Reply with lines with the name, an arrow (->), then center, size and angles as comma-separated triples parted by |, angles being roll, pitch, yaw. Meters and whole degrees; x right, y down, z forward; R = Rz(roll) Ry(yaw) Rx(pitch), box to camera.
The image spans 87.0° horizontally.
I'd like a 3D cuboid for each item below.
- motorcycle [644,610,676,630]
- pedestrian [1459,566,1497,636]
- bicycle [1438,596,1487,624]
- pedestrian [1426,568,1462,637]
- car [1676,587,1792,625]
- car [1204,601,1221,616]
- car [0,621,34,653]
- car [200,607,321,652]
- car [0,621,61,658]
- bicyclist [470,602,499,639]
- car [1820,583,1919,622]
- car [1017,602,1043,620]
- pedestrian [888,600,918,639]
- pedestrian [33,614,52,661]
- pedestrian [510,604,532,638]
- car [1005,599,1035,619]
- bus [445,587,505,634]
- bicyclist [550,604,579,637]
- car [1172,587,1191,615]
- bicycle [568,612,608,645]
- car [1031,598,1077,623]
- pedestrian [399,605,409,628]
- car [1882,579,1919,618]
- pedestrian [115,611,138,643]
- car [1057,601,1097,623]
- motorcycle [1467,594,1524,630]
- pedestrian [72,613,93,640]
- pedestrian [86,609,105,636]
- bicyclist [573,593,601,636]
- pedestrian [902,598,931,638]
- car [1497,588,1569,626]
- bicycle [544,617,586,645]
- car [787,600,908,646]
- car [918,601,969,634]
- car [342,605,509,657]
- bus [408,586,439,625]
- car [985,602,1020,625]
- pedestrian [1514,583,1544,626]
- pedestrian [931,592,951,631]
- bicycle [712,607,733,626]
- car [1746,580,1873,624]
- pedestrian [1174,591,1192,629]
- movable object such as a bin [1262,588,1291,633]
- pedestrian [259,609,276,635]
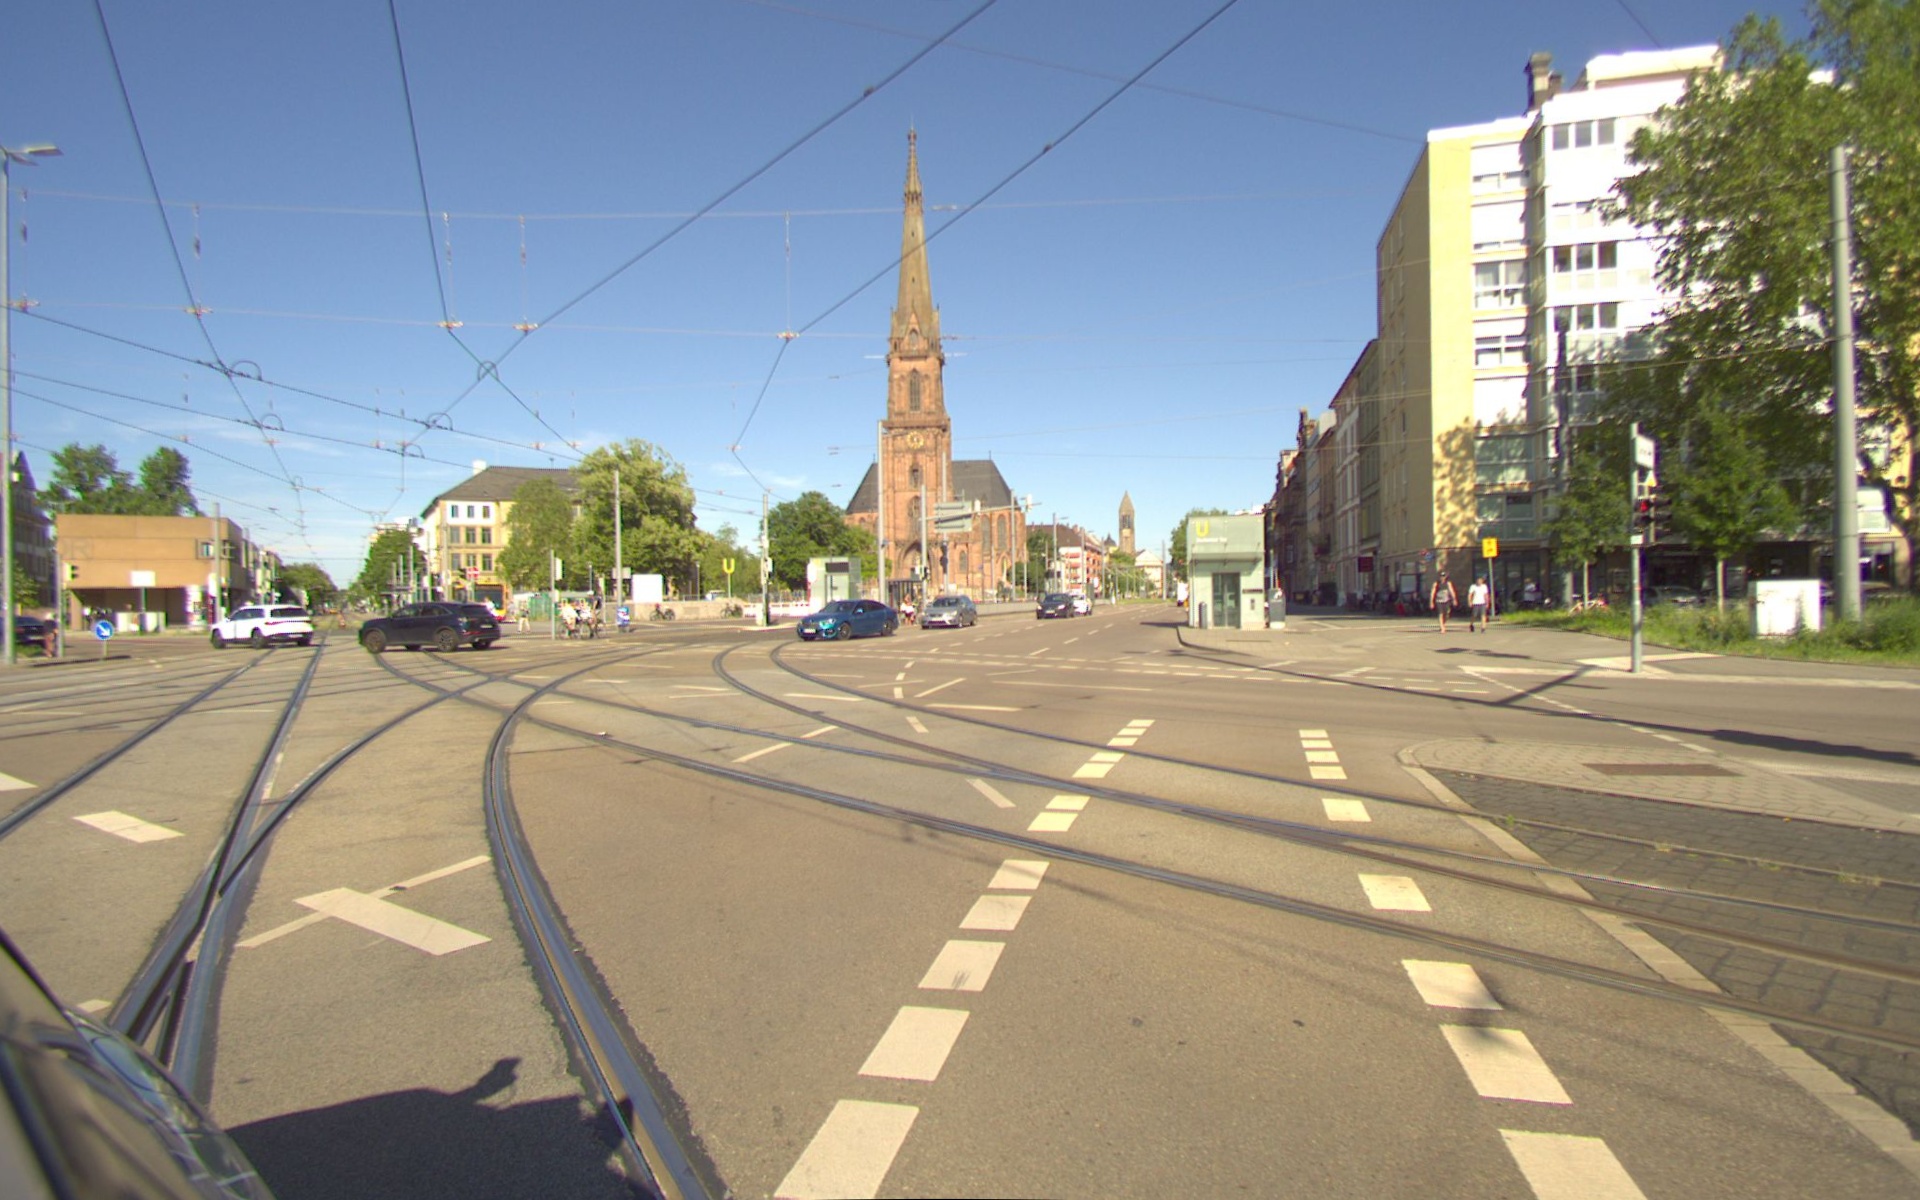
motorcycle -> -21.611, 1.431, 72.865 | 2.071, 1.263, 0.536 | -3, 1, -32
pedestrian -> 15.467, 0.018, 30.258 | 0.863, 2.045, 0.851 | -1, 1, 20
bicycle -> 23.581, 0.462, 47.512 | 1.931, 1.225, 0.616 | -2, 1, 16
pedestrian -> 14.659, 0.060, 30.688 | 0.863, 2.045, 0.851 | -1, 1, 20
car -> 31.049, 0.234, 40.771 | 1.977, 1.399, 3.989 | -2, 0, 9
car -> 32.044, 1.048, 128.481 | 1.981, 1.616, 4.102 | -2, 1, 14
car -> -48.252, 1.853, 50.234 | 4.621, 1.469, 1.871 | -1, 1, 27
car -> -27.070, 1.133, 39.143 | 4.543, 1.653, 1.985 | -1, 0, 28
car -> -40.630, 1.676, 43.180 | 4.456, 1.427, 1.836 | -1, 0, 26
bicyclist -> -21.082, 0.906, 44.912 | 0.593, 1.561, 0.986 | -1, 0, 31
car -> 36.224, 0.084, 39.659 | 1.977, 1.399, 3.989 | -2, 0, 9
car -> 5.807, 0.898, 83.674 | 1.892, 1.371, 3.990 | -2, 0, 8
pedestrian -> -2.756, 0.949, 49.134 | 0.993, 1.813, 0.980 | -1, 2, 41
pedestrian -> -31.156, 1.279, 34.364 | 0.644, 1.567, 0.368 | -1, 2, 40
pedestrian -> -21.294, 1.013, 49.096 | 0.606, 1.619, 0.707 | -1, 1, 33
car -> 4.436, 0.635, 74.732 | 1.892, 1.371, 3.990 | -2, 0, 8
bus -> -38.043, 0.673, 79.152 | 2.803, 3.144, 11.855 | -3, 3, -32
bicyclist -> -16.243, 0.847, 41.593 | 0.754, 1.332, 0.789 | -1, 0, 21
car -> 26.396, 0.062, 120.636 | 1.979, 3.130, 4.905 | -2, 1, 11
bicycle -> -14.984, 1.139, 40.794 | 0.609, 1.266, 1.957 | -1, 0, 11
car -> 5.421, 0.563, 57.672 | 1.781, 1.338, 4.576 | -1, 0, 16
pedestrian -> -47.251, 1.395, 85.993 | 0.679, 1.875, 0.732 | -2, 1, -27
car -> 38.397, -0.076, 39.242 | 1.977, 1.510, 3.990 | -2, 0, 8
pedestrian -> -49.485, 1.582, 60.089 | 0.844, 1.842, 0.704 | -2, 1, -23
car -> 7.582, 0.759, 65.208 | 1.781, 1.338, 4.576 | -1, 0, 16
motorcycle -> 20.003, 0.415, 37.742 | 1.289, 1.186, 2.930 | -1, 2, 40
pedestrian -> -57.204, 1.727, 66.003 | 0.737, 1.725, 0.704 | -2, 1, -17
pedestrian -> -56.082, 1.466, 65.648 | 0.633, 1.725, 0.704 | -2, 1, -17
bicyclist -> -15.000, 0.581, 40.741 | 0.752, 1.688, 0.792 | -1, 0, 11
pedestrian -> -2.189, 0.903, 50.798 | 0.991, 1.917, 0.983 | -1, 1, 33
car -> 24.837, 0.292, 43.983 | 1.727, 1.510, 3.980 | -2, 0, 15
bicycle -> -16.224, 1.270, 41.631 | 0.611, 1.113, 1.713 | -1, 0, 20
car -> -3.978, 0.791, 36.575 | 1.908, 1.469, 4.549 | -1, 0, 33
car -> -0.679, 0.754, 45.201 | 1.774, 1.338, 4.592 | -1, 0, 5
car -> -17.504, 0.996, 33.225 | 4.580, 1.589, 2.038 | -1, 1, 11
bus -> -45.832, 0.483, 86.334 | 2.104, 3.069, 8.585 | -3, 0, -29
car -> 2.827, 0.883, 66.883 | 1.892, 1.371, 3.990 | -2, 0, 8
pedestrian -> 21.741, 0.165, 38.701 | 0.643, 1.633, 0.760 | -2, 1, -5
pedestrian -> -0.958, 0.588, 51.545 | 0.980, 1.917, 0.994 | -2, 1, 0
bicycle -> -17.716, 1.220, 75.498 | 1.476, 1.279, 0.366 | -3, 1, -27
car -> 33.504, 0.080, 40.067 | 1.977, 1.576, 3.989 | -2, 0, 9
pedestrian -> 10.376, 0.474, 47.089 | 0.612, 1.718, 0.710 | -1, 1, 25
movable object such as a bin -> 12.002, 0.394, 38.446 | 0.928, 1.646, 0.987 | -2, 1, 13
pedestrian -> -50.763, 1.605, 74.150 | 0.844, 1.895, 0.695 | -2, 1, -23
